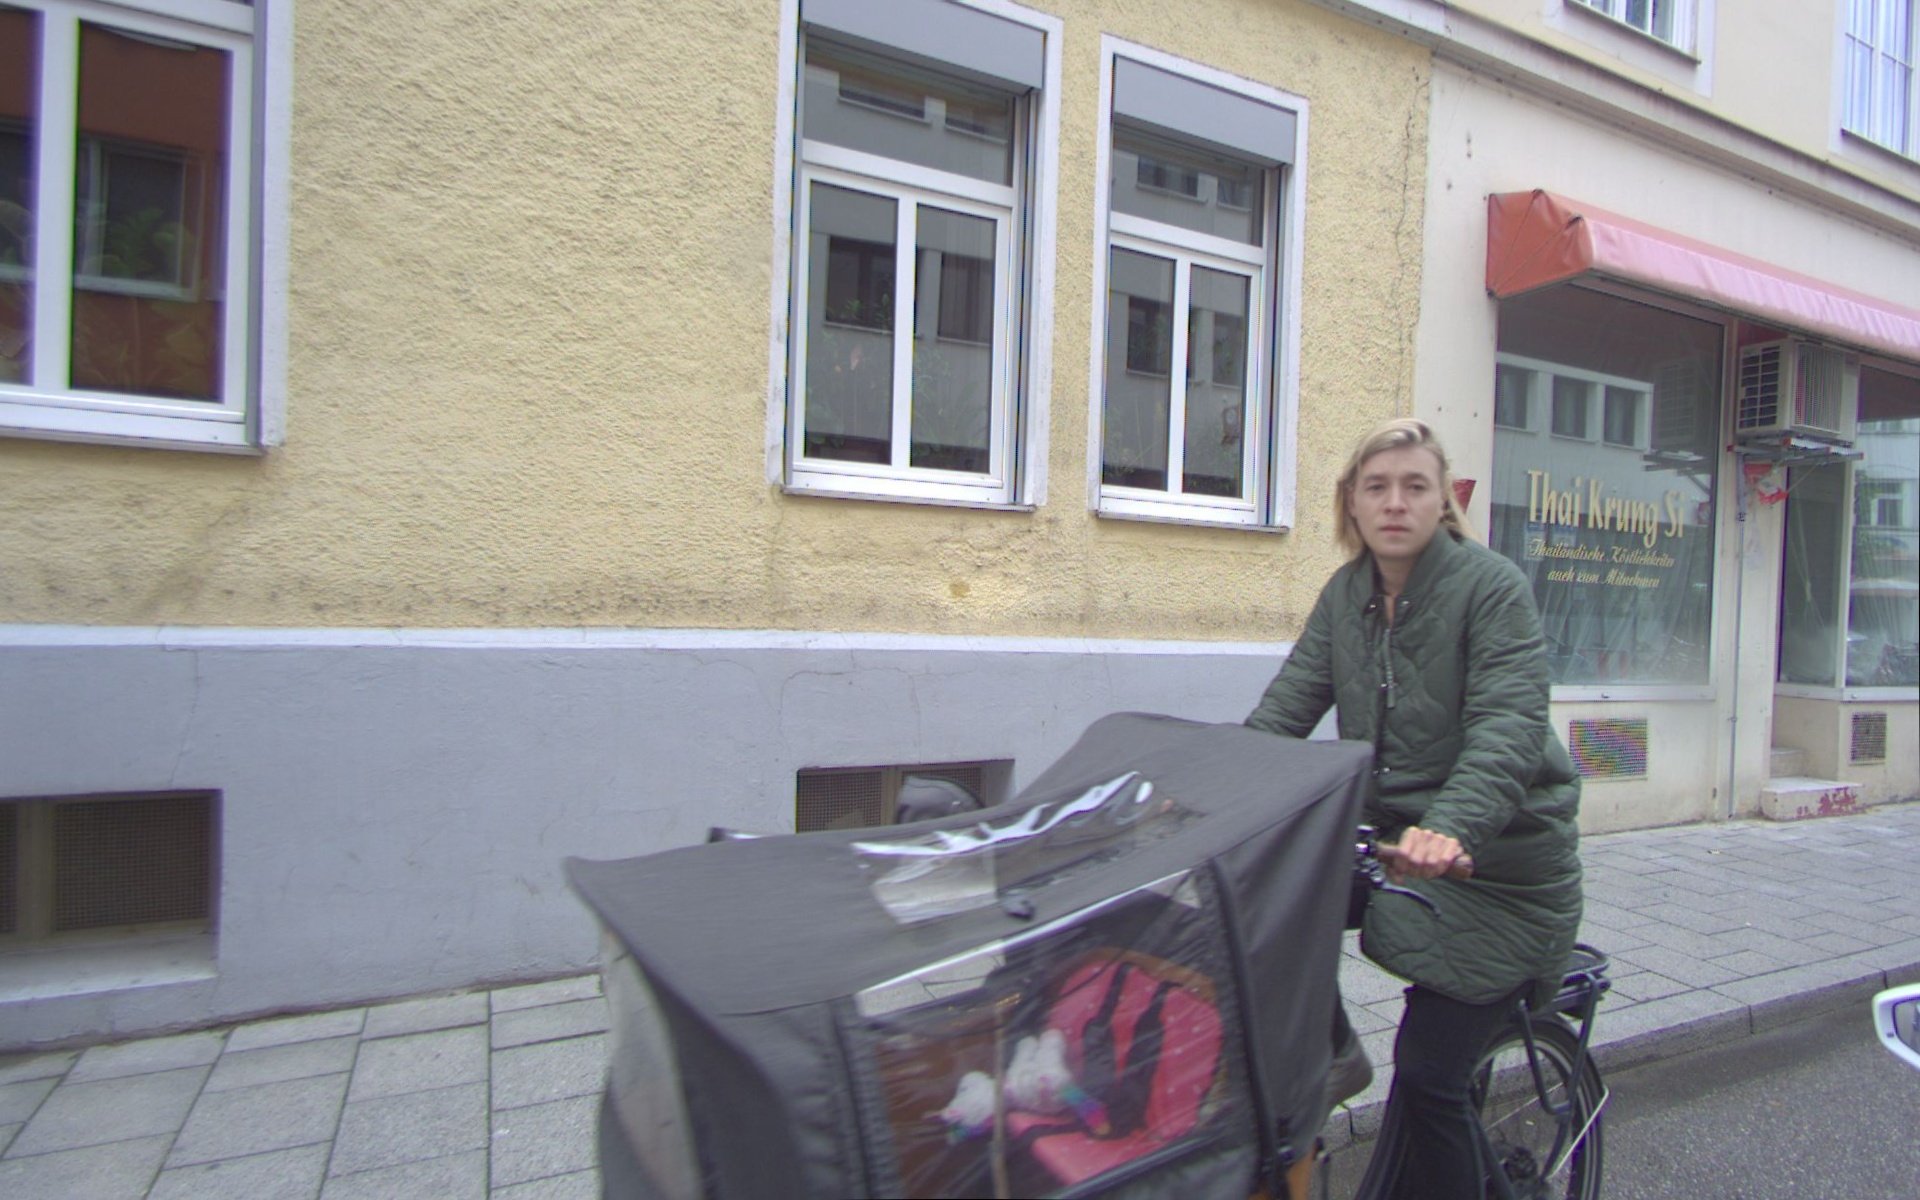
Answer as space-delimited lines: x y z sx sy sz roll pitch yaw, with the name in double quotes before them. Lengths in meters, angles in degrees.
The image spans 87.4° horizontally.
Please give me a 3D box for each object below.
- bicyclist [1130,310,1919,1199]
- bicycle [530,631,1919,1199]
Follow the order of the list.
"bicyclist" 1.070 0.496 2.011 1.085 1.744 0.923 2 -1 -26
"bicycle" 0.572 0.734 1.757 2.382 1.274 0.929 2 -1 -27
